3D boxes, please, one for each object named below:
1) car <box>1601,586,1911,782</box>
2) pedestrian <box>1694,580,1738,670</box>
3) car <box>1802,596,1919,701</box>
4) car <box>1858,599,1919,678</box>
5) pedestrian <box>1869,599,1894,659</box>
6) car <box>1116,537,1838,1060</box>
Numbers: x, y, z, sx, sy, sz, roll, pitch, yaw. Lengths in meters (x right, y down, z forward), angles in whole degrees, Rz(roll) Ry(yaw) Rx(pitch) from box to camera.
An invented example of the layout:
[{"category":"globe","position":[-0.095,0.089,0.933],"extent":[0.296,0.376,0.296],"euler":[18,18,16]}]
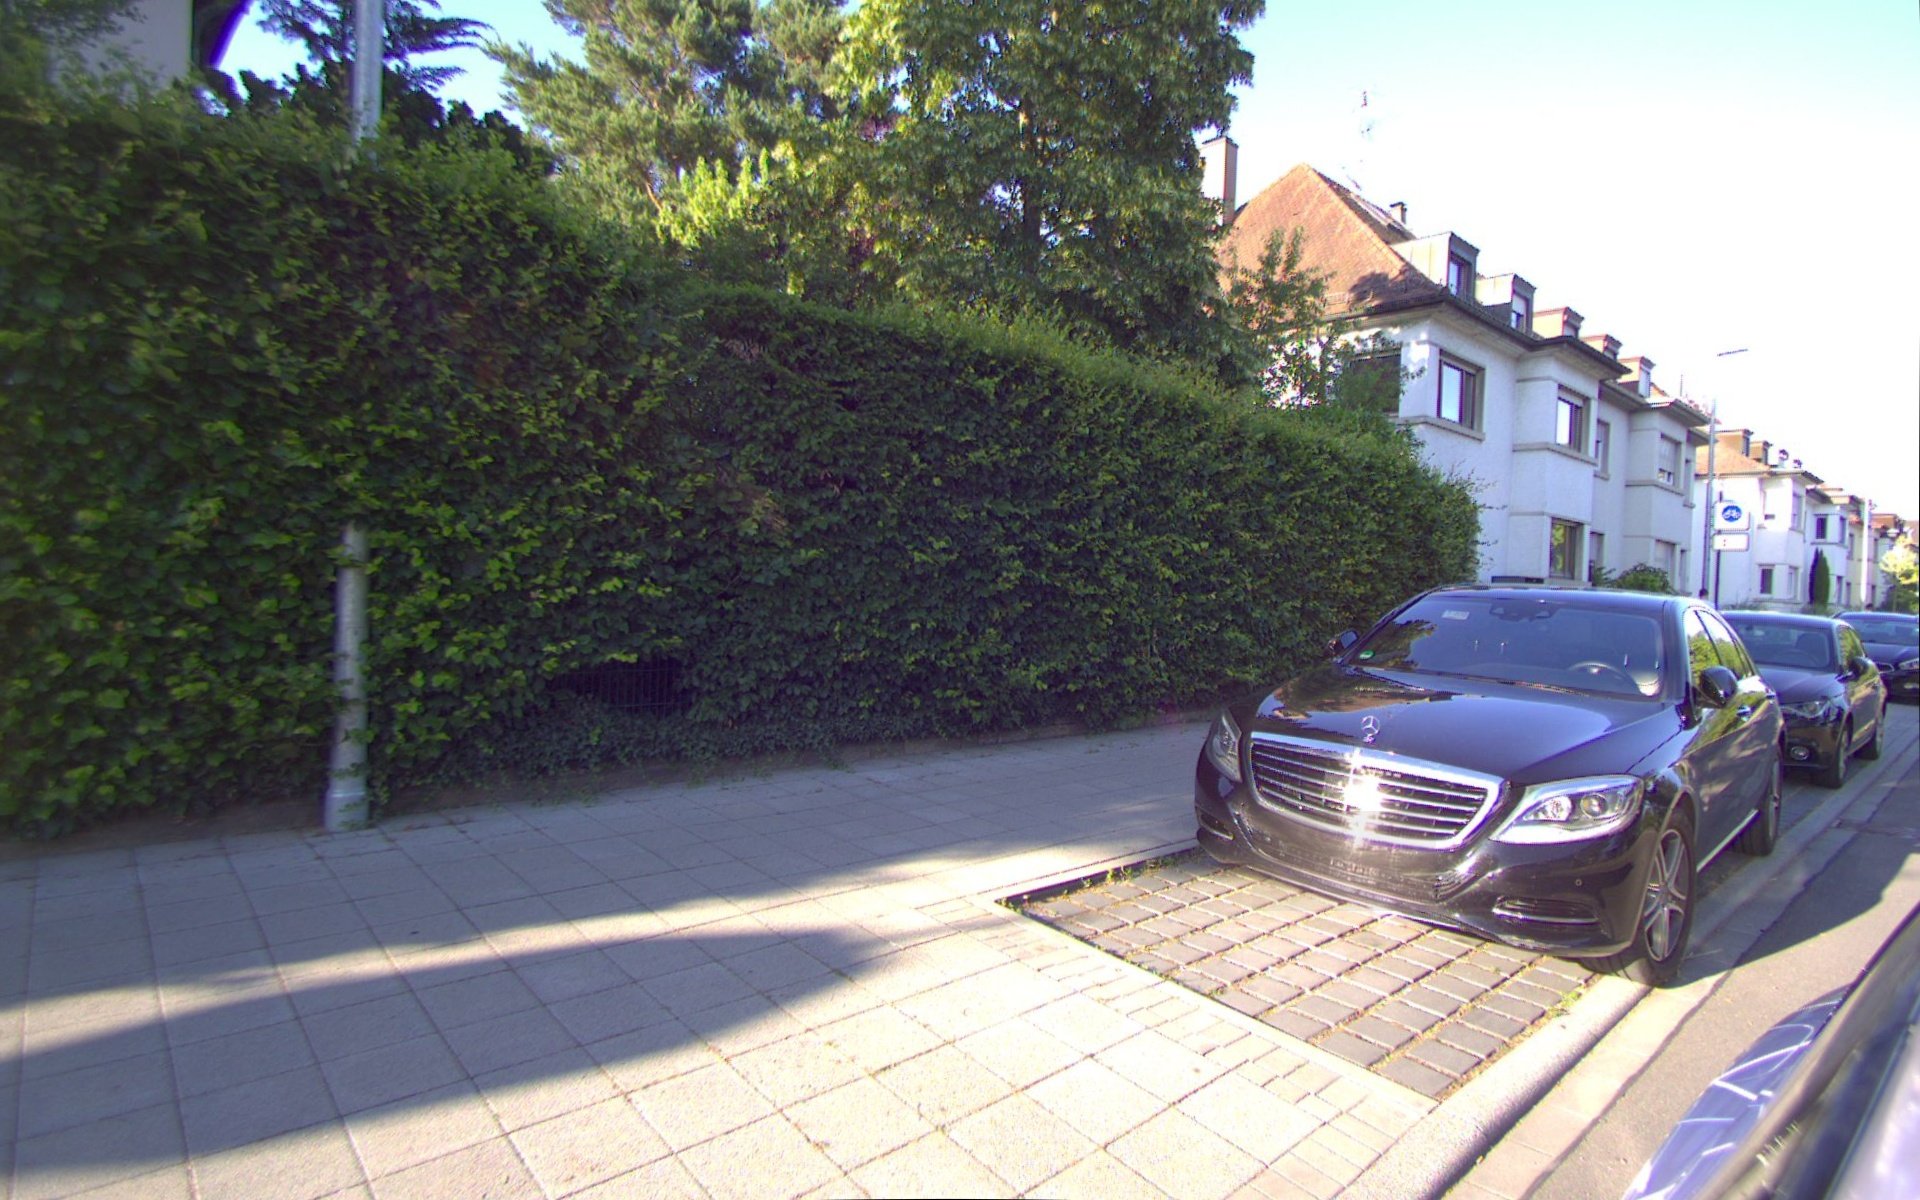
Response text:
[{"category":"car","position":[7.784,0.666,9.768],"extent":[3.932,1.496,1.781],"euler":[1,-1,-43]},{"category":"pedestrian","position":[16.119,0.514,21.573],"extent":[0.809,1.869,0.587],"euler":[0,0,-41]},{"category":"car","position":[15.877,0.776,17.316],"extent":[4.007,1.616,1.793],"euler":[1,-1,-43]},{"category":"car","position":[20.021,0.782,20.975],"extent":[3.410,1.554,1.679],"euler":[1,-1,-41]},{"category":"pedestrian","position":[28.450,0.894,31.257],"extent":[0.579,1.821,0.530],"euler":[1,-1,-44]},{"category":"car","position":[3.132,0.570,5.454],"extent":[4.835,1.516,2.006],"euler":[1,4,-45]}]
